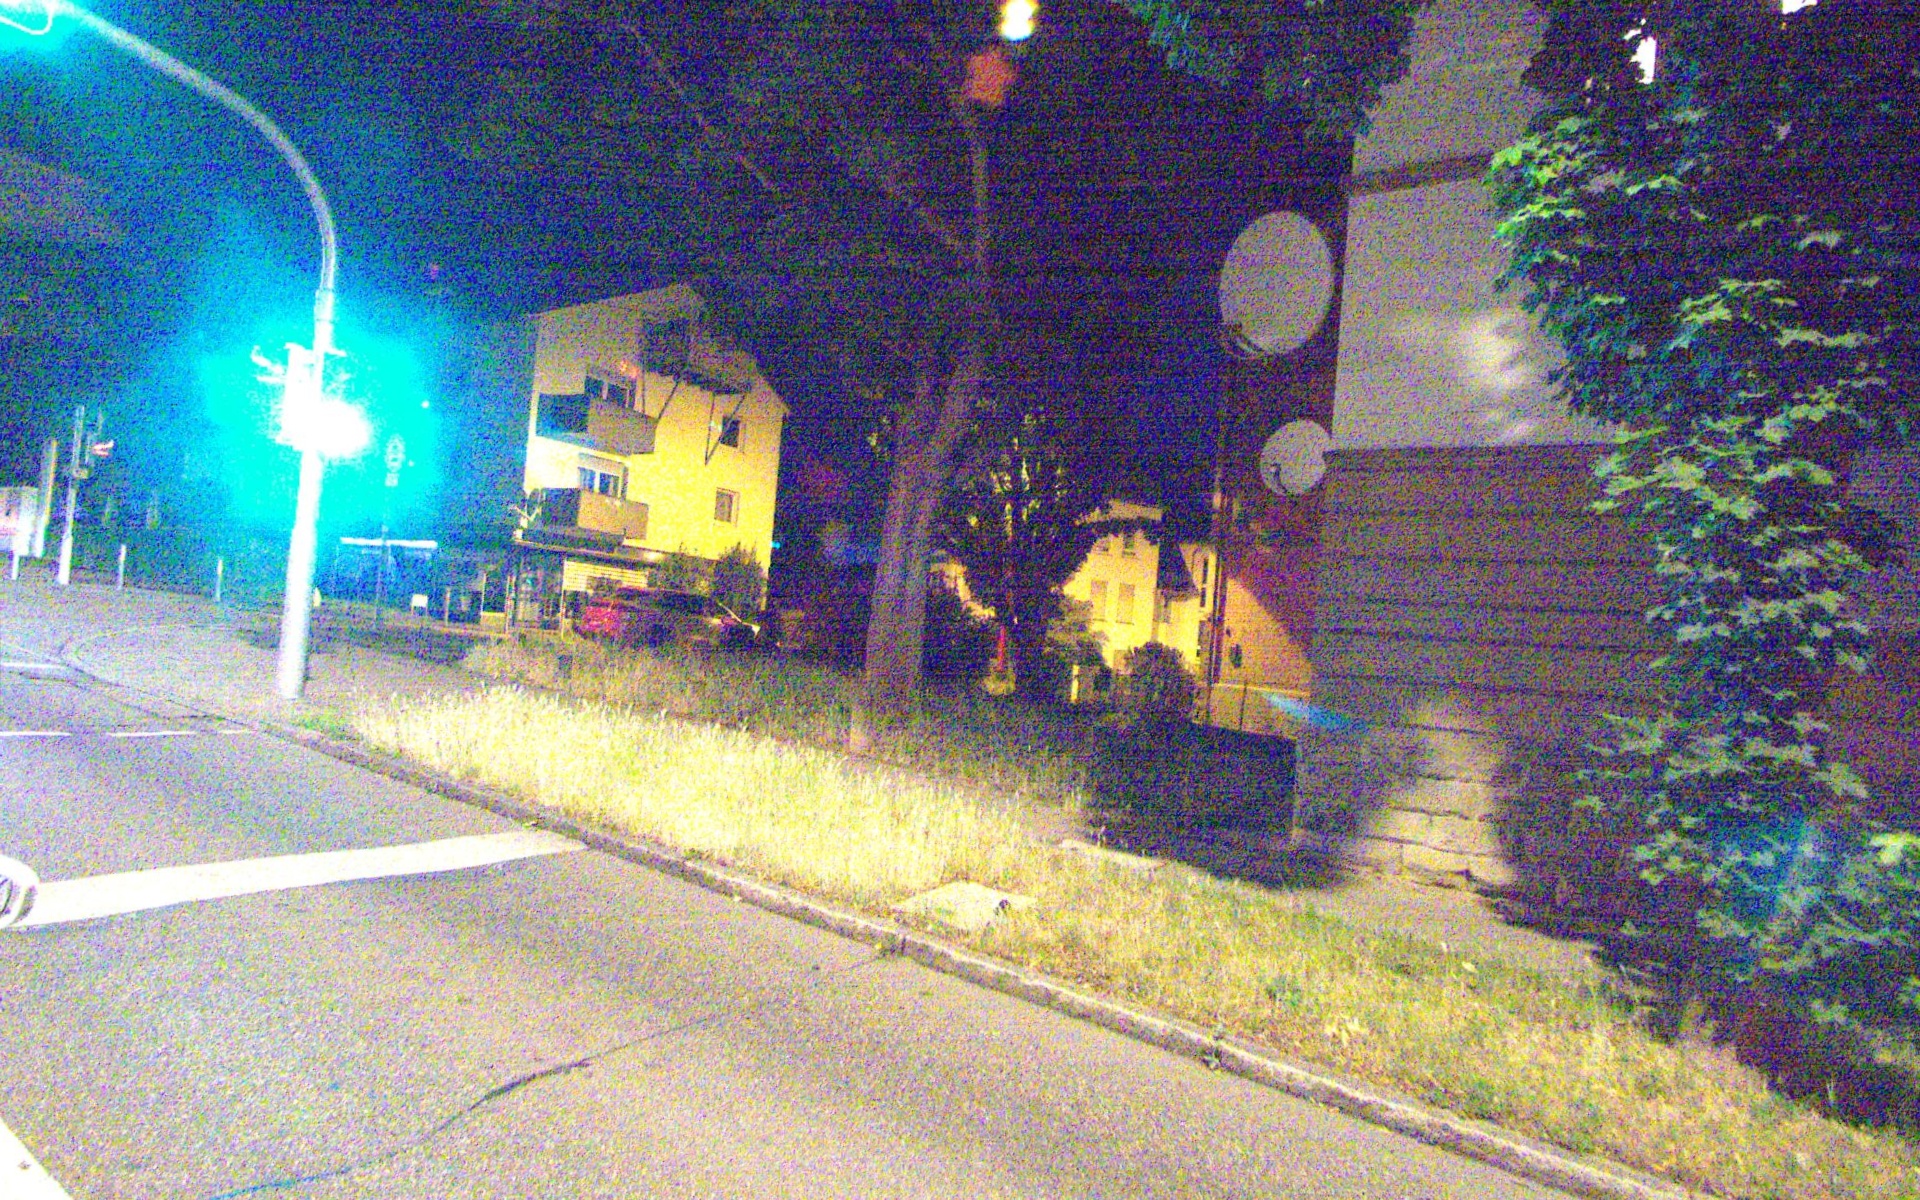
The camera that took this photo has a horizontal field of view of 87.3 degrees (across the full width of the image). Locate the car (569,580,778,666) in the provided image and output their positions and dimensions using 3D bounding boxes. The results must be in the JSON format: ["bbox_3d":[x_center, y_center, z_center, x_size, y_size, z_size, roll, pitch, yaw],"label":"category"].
[{"bbox_3d":[-6.504,0.585,23.296,1.778,1.577,4.366,3,-3,38],"label":"car"}]
